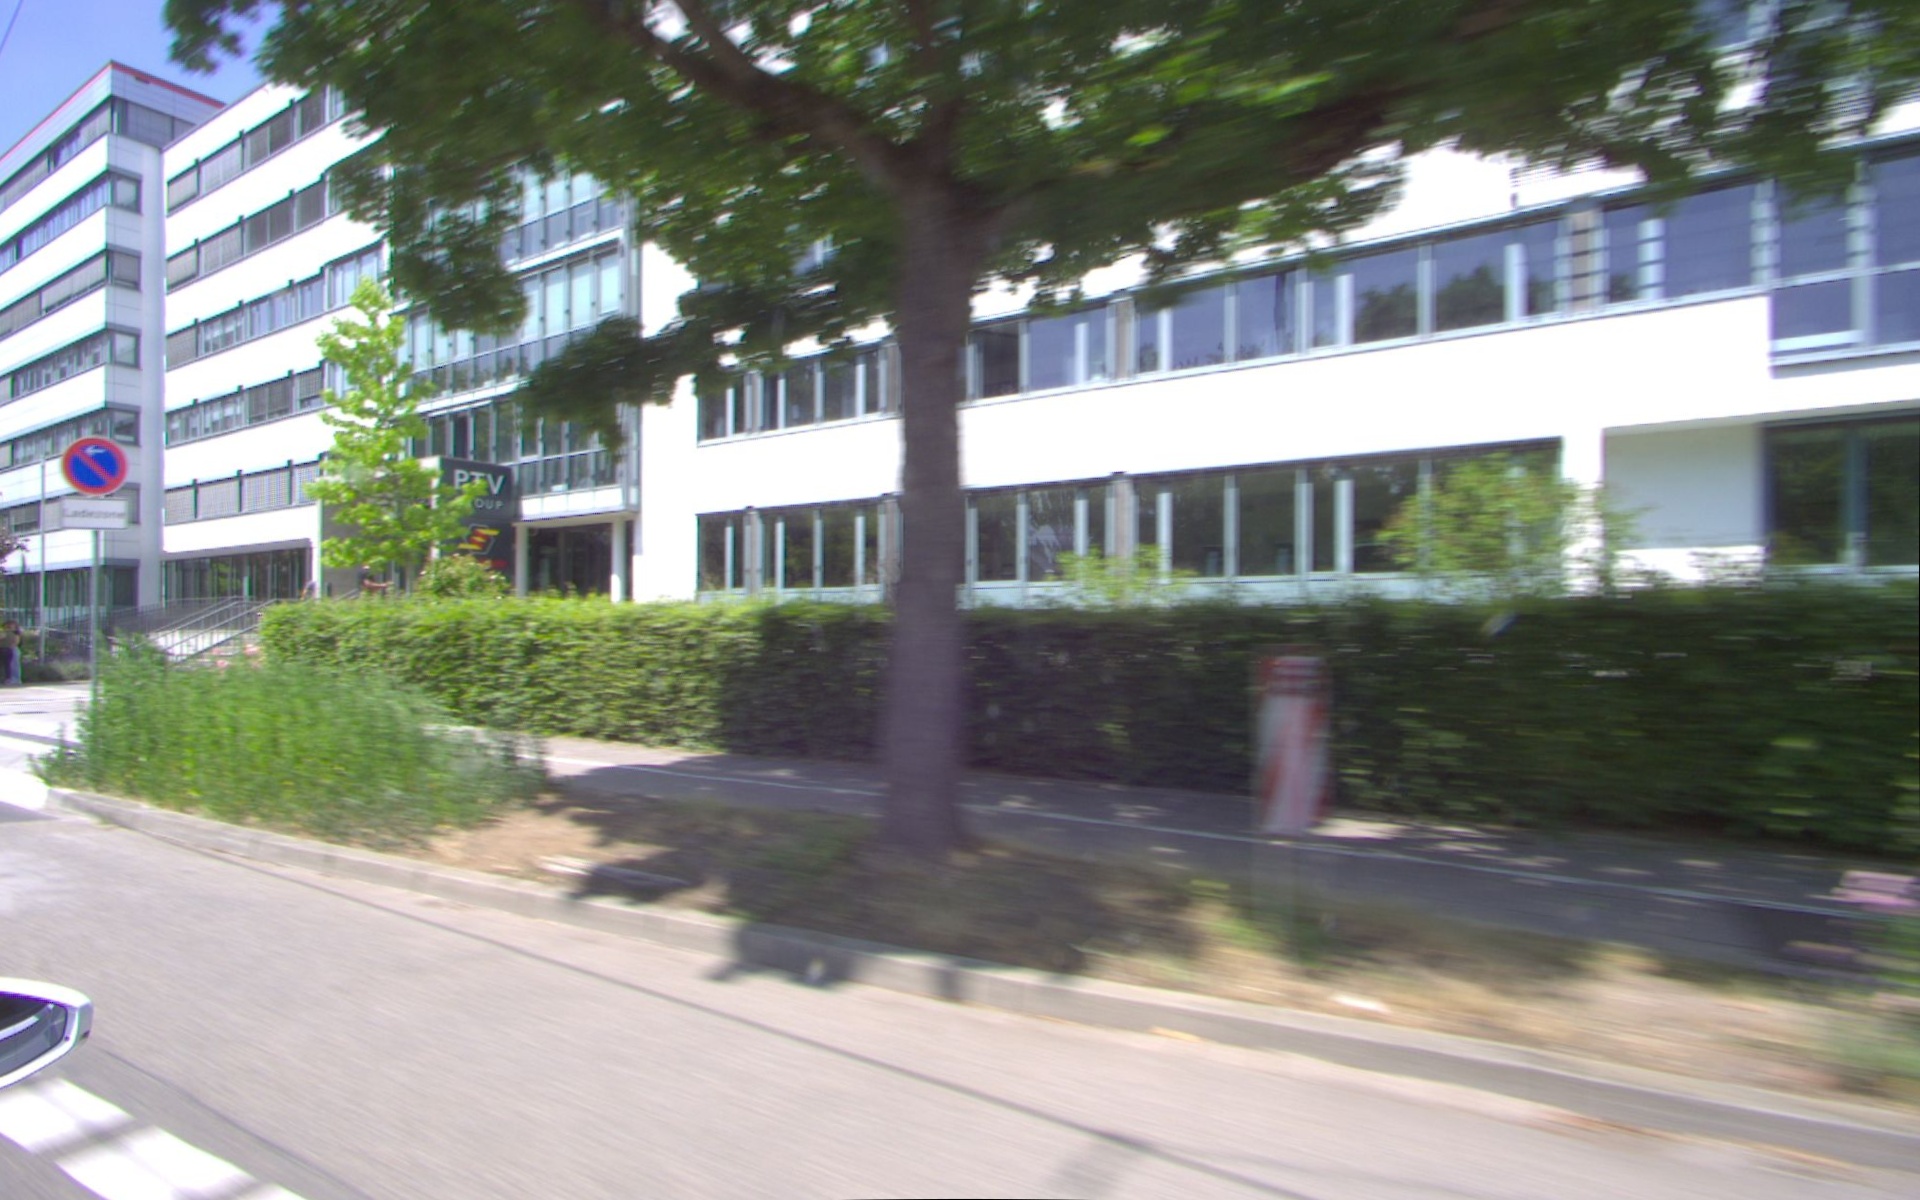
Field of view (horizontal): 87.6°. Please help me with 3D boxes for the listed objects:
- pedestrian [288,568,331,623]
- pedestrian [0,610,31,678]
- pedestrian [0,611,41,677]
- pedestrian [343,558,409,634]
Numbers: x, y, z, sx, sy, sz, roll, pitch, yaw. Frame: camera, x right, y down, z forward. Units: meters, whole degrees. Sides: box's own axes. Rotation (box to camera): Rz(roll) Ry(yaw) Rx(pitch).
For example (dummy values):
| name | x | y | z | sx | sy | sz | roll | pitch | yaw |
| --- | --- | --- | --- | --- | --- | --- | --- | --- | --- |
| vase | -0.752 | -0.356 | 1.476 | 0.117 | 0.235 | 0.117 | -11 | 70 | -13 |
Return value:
| name | x | y | z | sx | sy | sz | roll | pitch | yaw |
| --- | --- | --- | --- | --- | --- | --- | --- | --- | --- |
| pedestrian | -21.067 | -0.130 | 32.444 | 0.796 | 1.737 | 0.876 | 0 | -3 | 32 |
| pedestrian | -24.617 | 1.140 | 25.963 | 0.554 | 1.737 | 0.539 | -1 | 0 | 4 |
| pedestrian | -24.868 | 1.162 | 26.515 | 0.554 | 1.737 | 0.539 | -1 | 0 | 4 |
| pedestrian | -13.730 | -0.088 | 23.562 | 1.072 | 1.737 | 0.874 | -1 | 0 | 25 |
